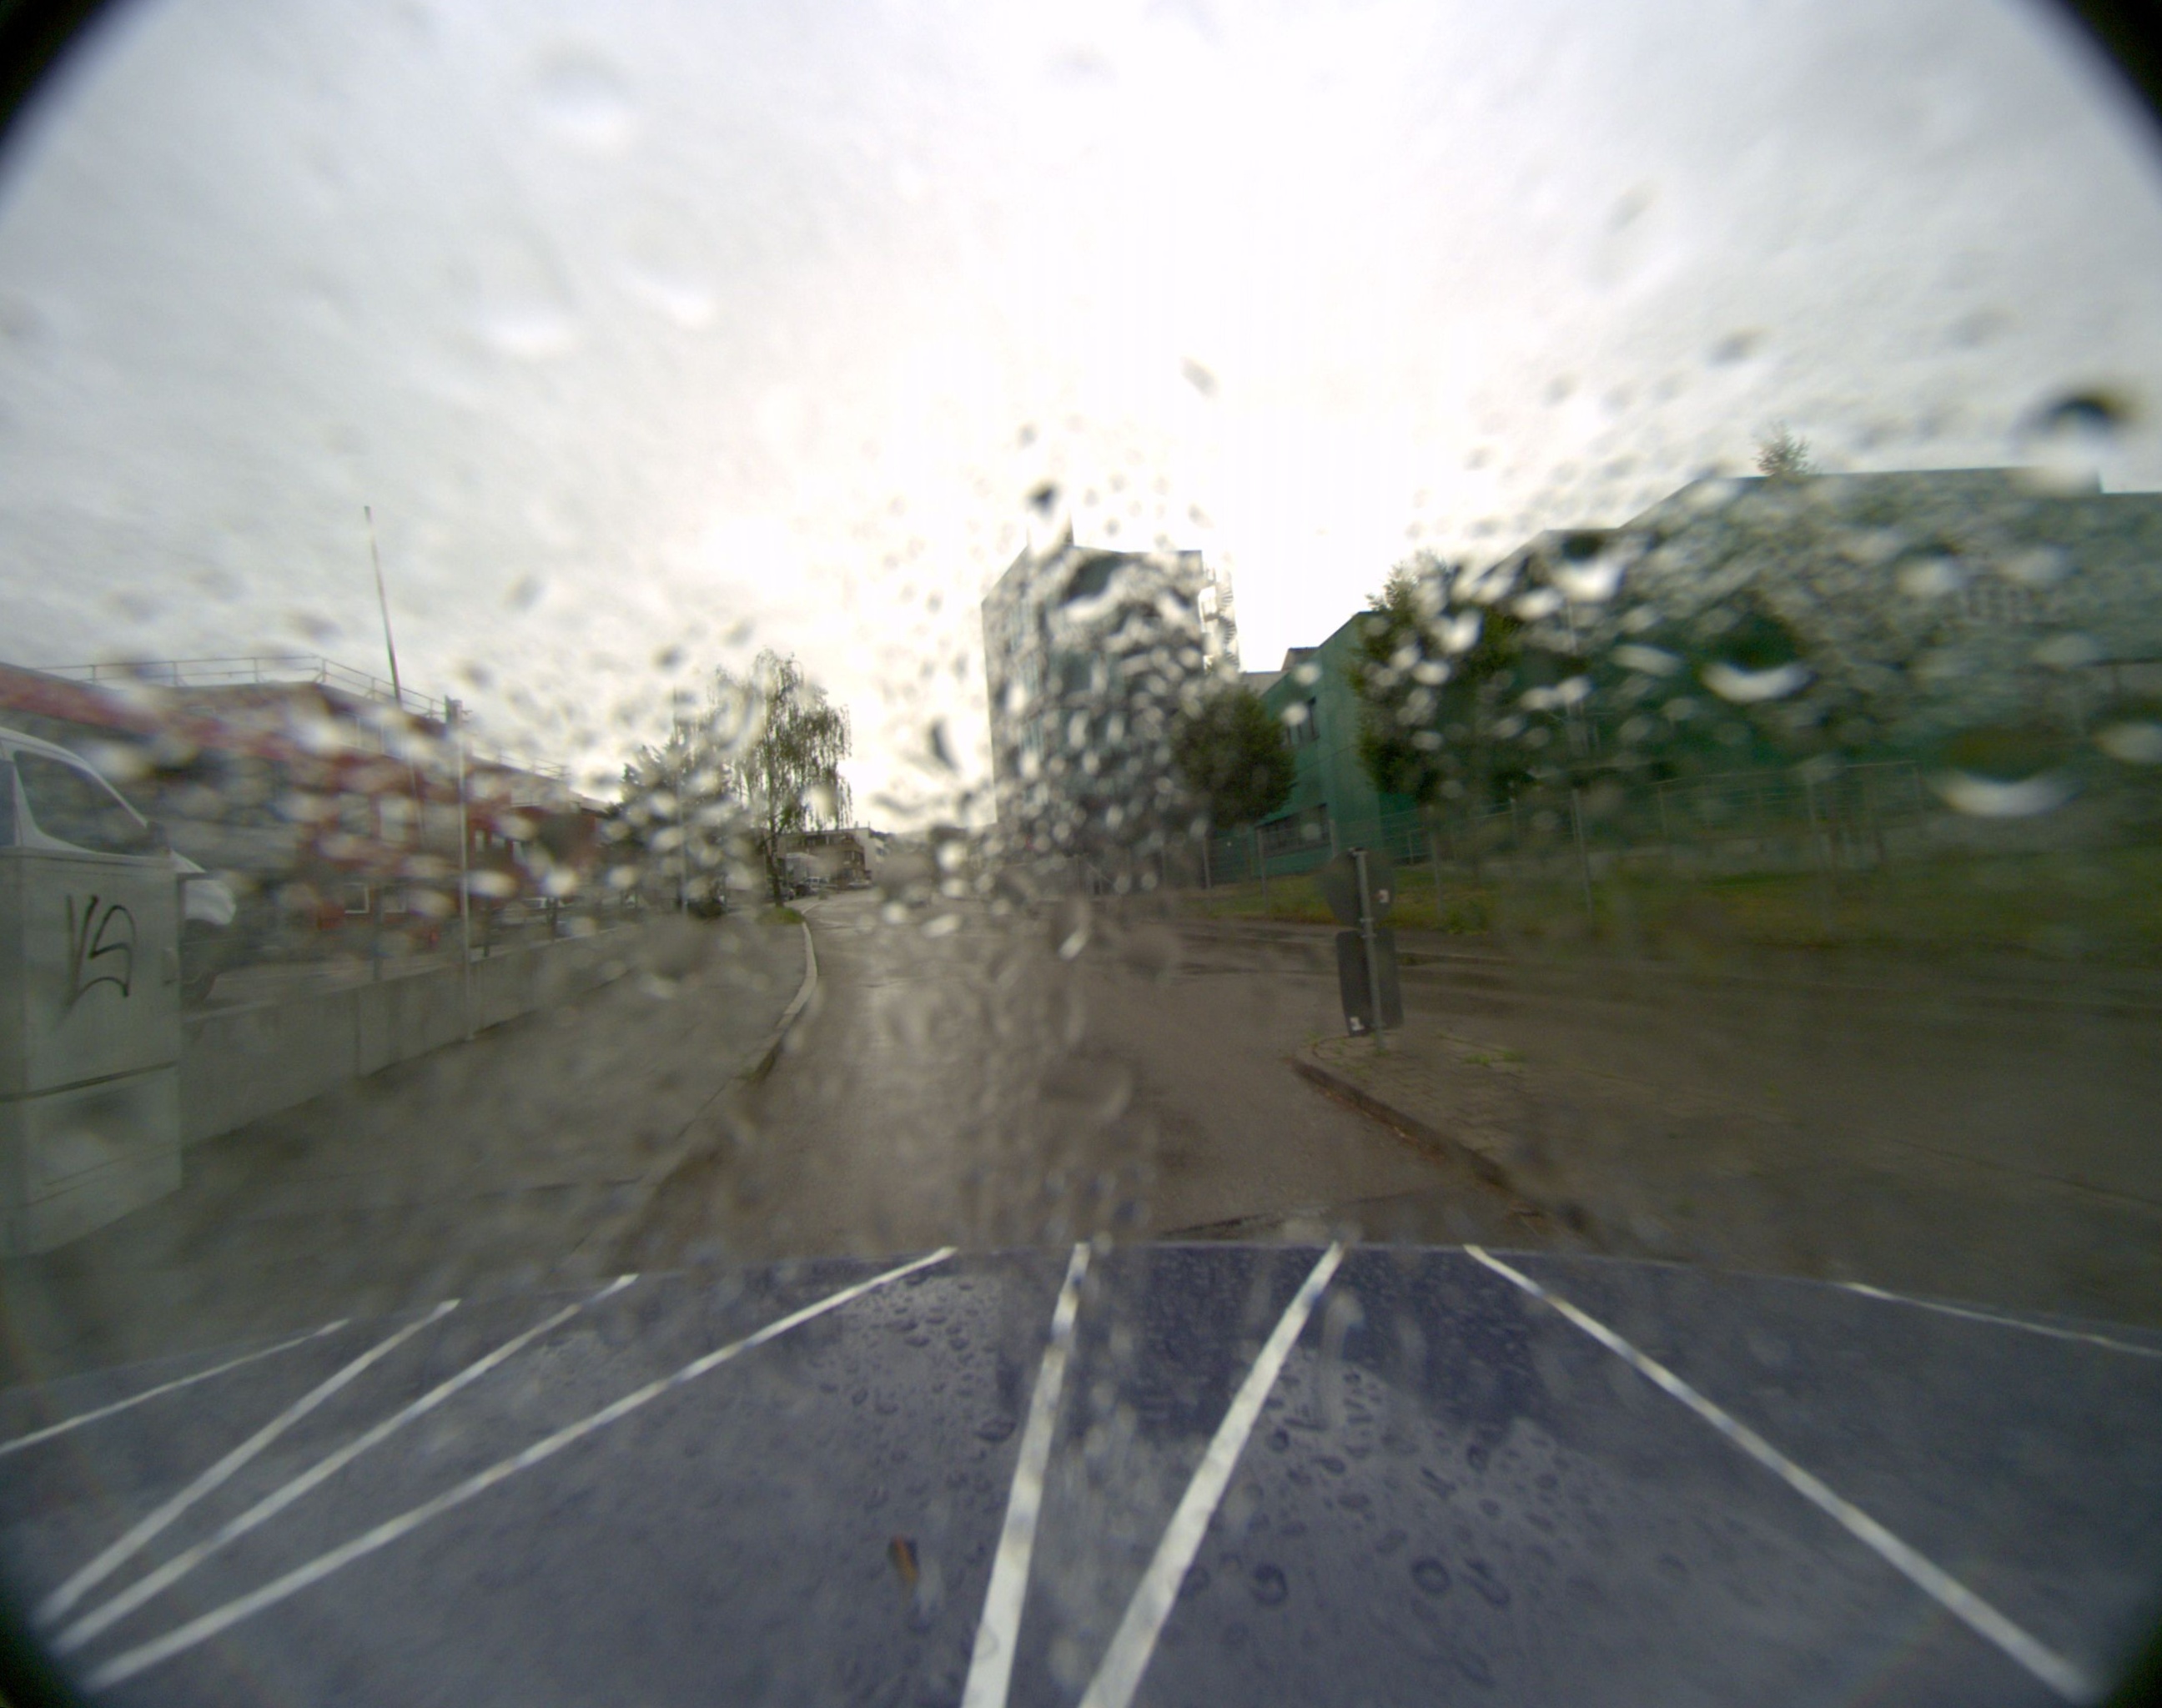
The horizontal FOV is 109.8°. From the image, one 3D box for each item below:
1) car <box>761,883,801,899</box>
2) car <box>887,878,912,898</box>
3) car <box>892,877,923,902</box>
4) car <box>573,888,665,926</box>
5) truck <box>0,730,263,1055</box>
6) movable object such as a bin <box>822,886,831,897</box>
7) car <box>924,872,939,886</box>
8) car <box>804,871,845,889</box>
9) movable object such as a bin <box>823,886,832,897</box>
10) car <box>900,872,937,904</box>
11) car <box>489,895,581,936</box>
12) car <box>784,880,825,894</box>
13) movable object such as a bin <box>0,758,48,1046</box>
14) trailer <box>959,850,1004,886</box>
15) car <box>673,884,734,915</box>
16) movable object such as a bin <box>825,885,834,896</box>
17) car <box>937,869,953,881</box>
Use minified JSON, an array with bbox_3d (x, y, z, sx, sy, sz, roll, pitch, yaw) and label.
[{"bbox_3d":[-32.687,3.991,82.829,3.751,1.531,1.630,-3,-1,-8],"label":"car"},{"bbox_3d":[-15.029,2.789,62.844,1.741,1.527,4.245,-3,-1,-16],"label":"car"},{"bbox_3d":[-11.870,2.404,51.834,1.639,1.548,4.078,-3,-1,-18],"label":"car"},{"bbox_3d":[-23.464,2.645,38.809,2.001,1.569,4.511,-5,-1,-3],"label":"car"},{"bbox_3d":[-8.174,0.281,4.190,2.113,2.201,5.647,-3,-1,-13],"label":"truck"},{"bbox_3d":[-25.791,3.802,76.973,0.736,1.084,0.593,-3,0,-12],"label":"movable object such as a bin"},{"bbox_3d":[-21.712,3.662,110.158,2.000,1.902,3.996,-3,-1,-12],"label":"car"},{"bbox_3d":[-36.724,3.694,108.929,5.154,2.280,2.202,-3,0,-4],"label":"car"},{"bbox_3d":[-25.915,3.820,77.577,0.736,1.084,0.593,-3,0,-12],"label":"movable object such as a bin"},{"bbox_3d":[-10.078,2.083,47.007,1.746,1.786,3.953,-3,-1,-18],"label":"car"},{"bbox_3d":[-23.059,2.539,32.292,1.911,1.461,4.323,-2,-1,-18],"label":"car"},{"bbox_3d":[-36.099,4.275,99.329,4.625,1.488,1.940,-3,-1,-6],"label":"car"},{"bbox_3d":[-5.939,0.248,3.061,1.312,1.491,1.855,-3,-1,-24],"label":"movable object such as a bin"},{"bbox_3d":[-11.874,1.641,90.335,4.688,4.065,2.393,-3,0,32],"label":"trailer"},{"bbox_3d":[-27.724,3.341,55.882,3.444,1.490,1.618,-12,0,-3],"label":"car"},{"bbox_3d":[-26.129,3.835,78.949,0.736,1.084,0.593,-3,0,-12],"label":"movable object such as a bin"},{"bbox_3d":[-23.425,3.611,130.970,1.999,2.001,4.000,-3,-1,0],"label":"car"}]
